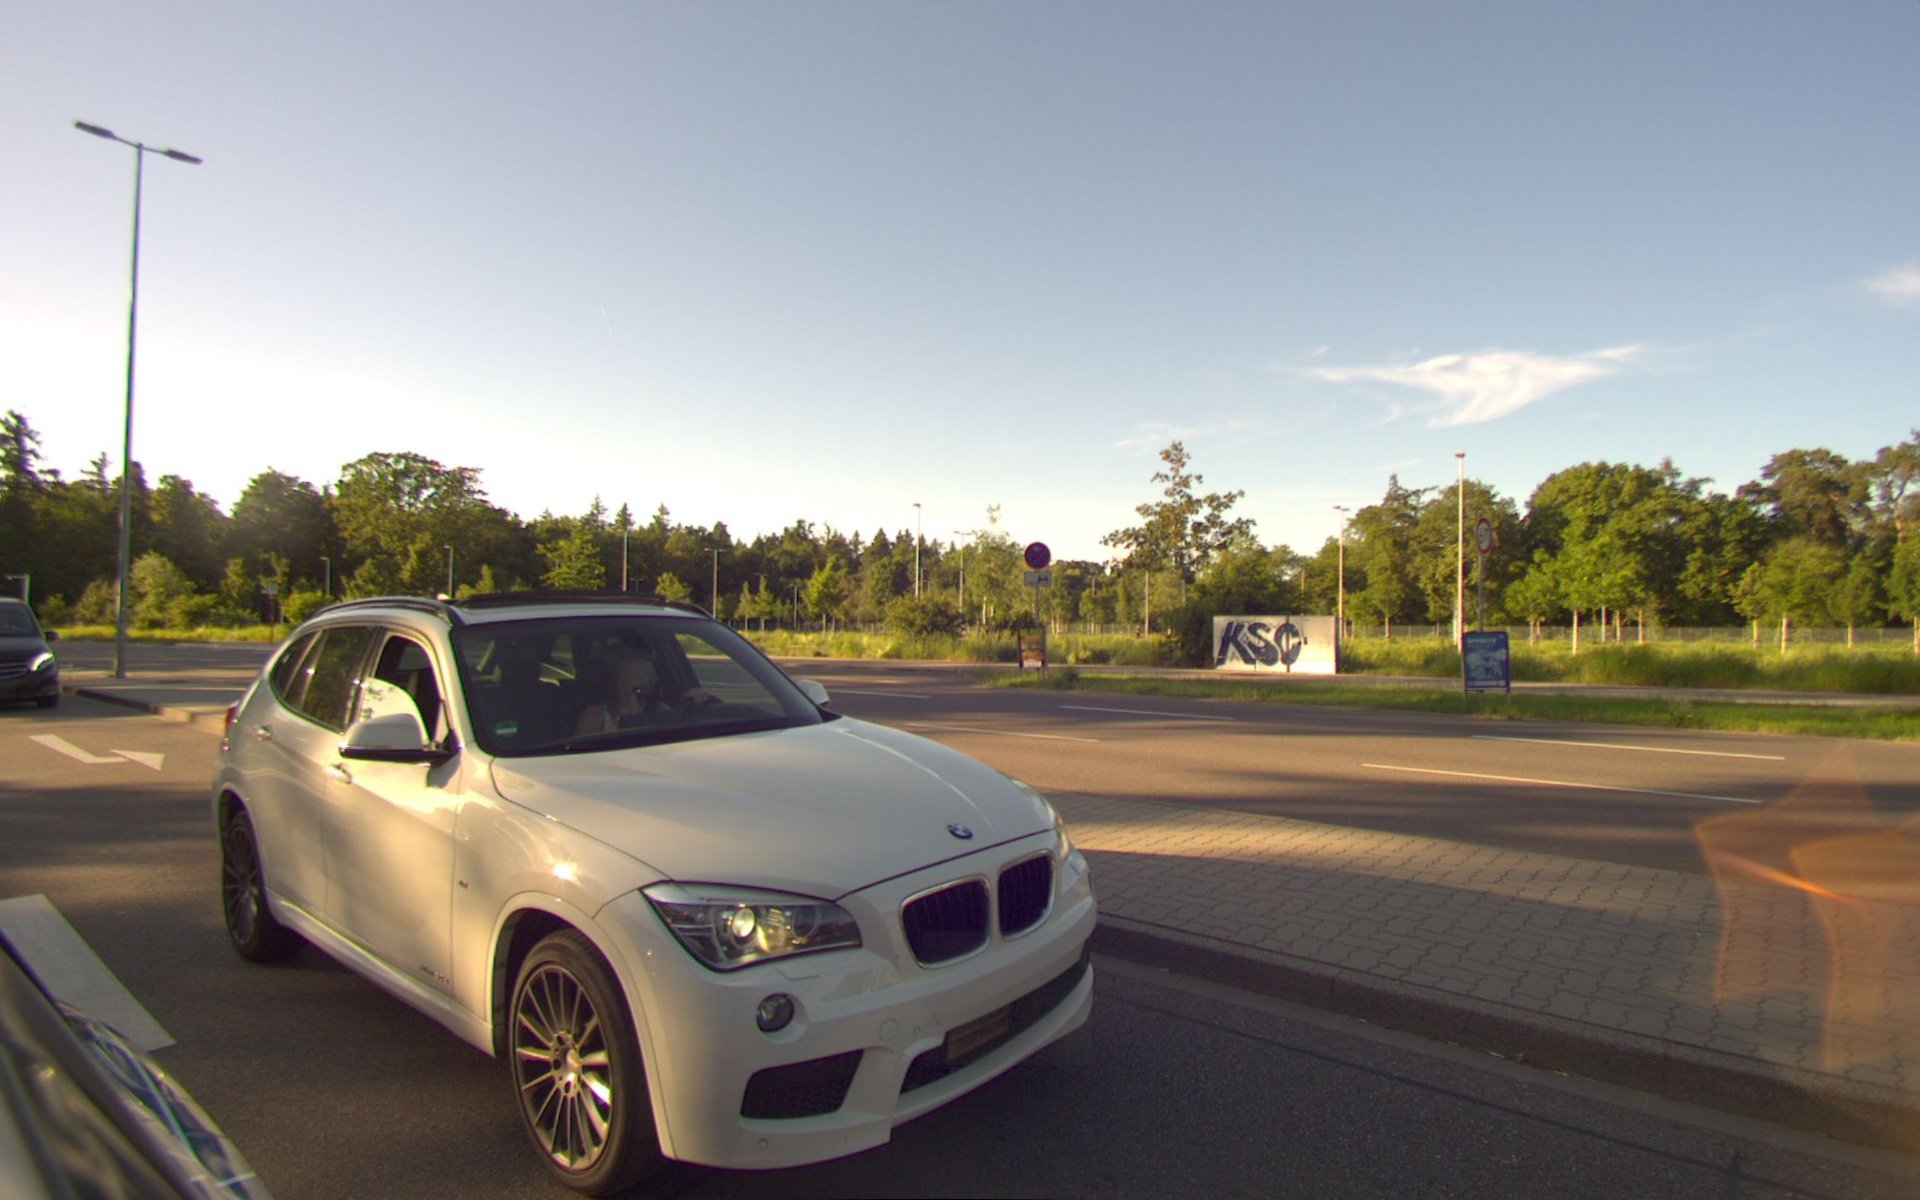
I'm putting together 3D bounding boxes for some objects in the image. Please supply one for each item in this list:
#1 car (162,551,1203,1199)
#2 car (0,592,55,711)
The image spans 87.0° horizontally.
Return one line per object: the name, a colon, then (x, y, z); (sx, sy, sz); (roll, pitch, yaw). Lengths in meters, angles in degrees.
car: (-1.468, 0.693, 3.958); (4.430, 1.592, 1.701); (0, 1, 40)
car: (-17.127, 0.838, 17.307); (4.871, 1.870, 1.887); (-1, 0, 41)
